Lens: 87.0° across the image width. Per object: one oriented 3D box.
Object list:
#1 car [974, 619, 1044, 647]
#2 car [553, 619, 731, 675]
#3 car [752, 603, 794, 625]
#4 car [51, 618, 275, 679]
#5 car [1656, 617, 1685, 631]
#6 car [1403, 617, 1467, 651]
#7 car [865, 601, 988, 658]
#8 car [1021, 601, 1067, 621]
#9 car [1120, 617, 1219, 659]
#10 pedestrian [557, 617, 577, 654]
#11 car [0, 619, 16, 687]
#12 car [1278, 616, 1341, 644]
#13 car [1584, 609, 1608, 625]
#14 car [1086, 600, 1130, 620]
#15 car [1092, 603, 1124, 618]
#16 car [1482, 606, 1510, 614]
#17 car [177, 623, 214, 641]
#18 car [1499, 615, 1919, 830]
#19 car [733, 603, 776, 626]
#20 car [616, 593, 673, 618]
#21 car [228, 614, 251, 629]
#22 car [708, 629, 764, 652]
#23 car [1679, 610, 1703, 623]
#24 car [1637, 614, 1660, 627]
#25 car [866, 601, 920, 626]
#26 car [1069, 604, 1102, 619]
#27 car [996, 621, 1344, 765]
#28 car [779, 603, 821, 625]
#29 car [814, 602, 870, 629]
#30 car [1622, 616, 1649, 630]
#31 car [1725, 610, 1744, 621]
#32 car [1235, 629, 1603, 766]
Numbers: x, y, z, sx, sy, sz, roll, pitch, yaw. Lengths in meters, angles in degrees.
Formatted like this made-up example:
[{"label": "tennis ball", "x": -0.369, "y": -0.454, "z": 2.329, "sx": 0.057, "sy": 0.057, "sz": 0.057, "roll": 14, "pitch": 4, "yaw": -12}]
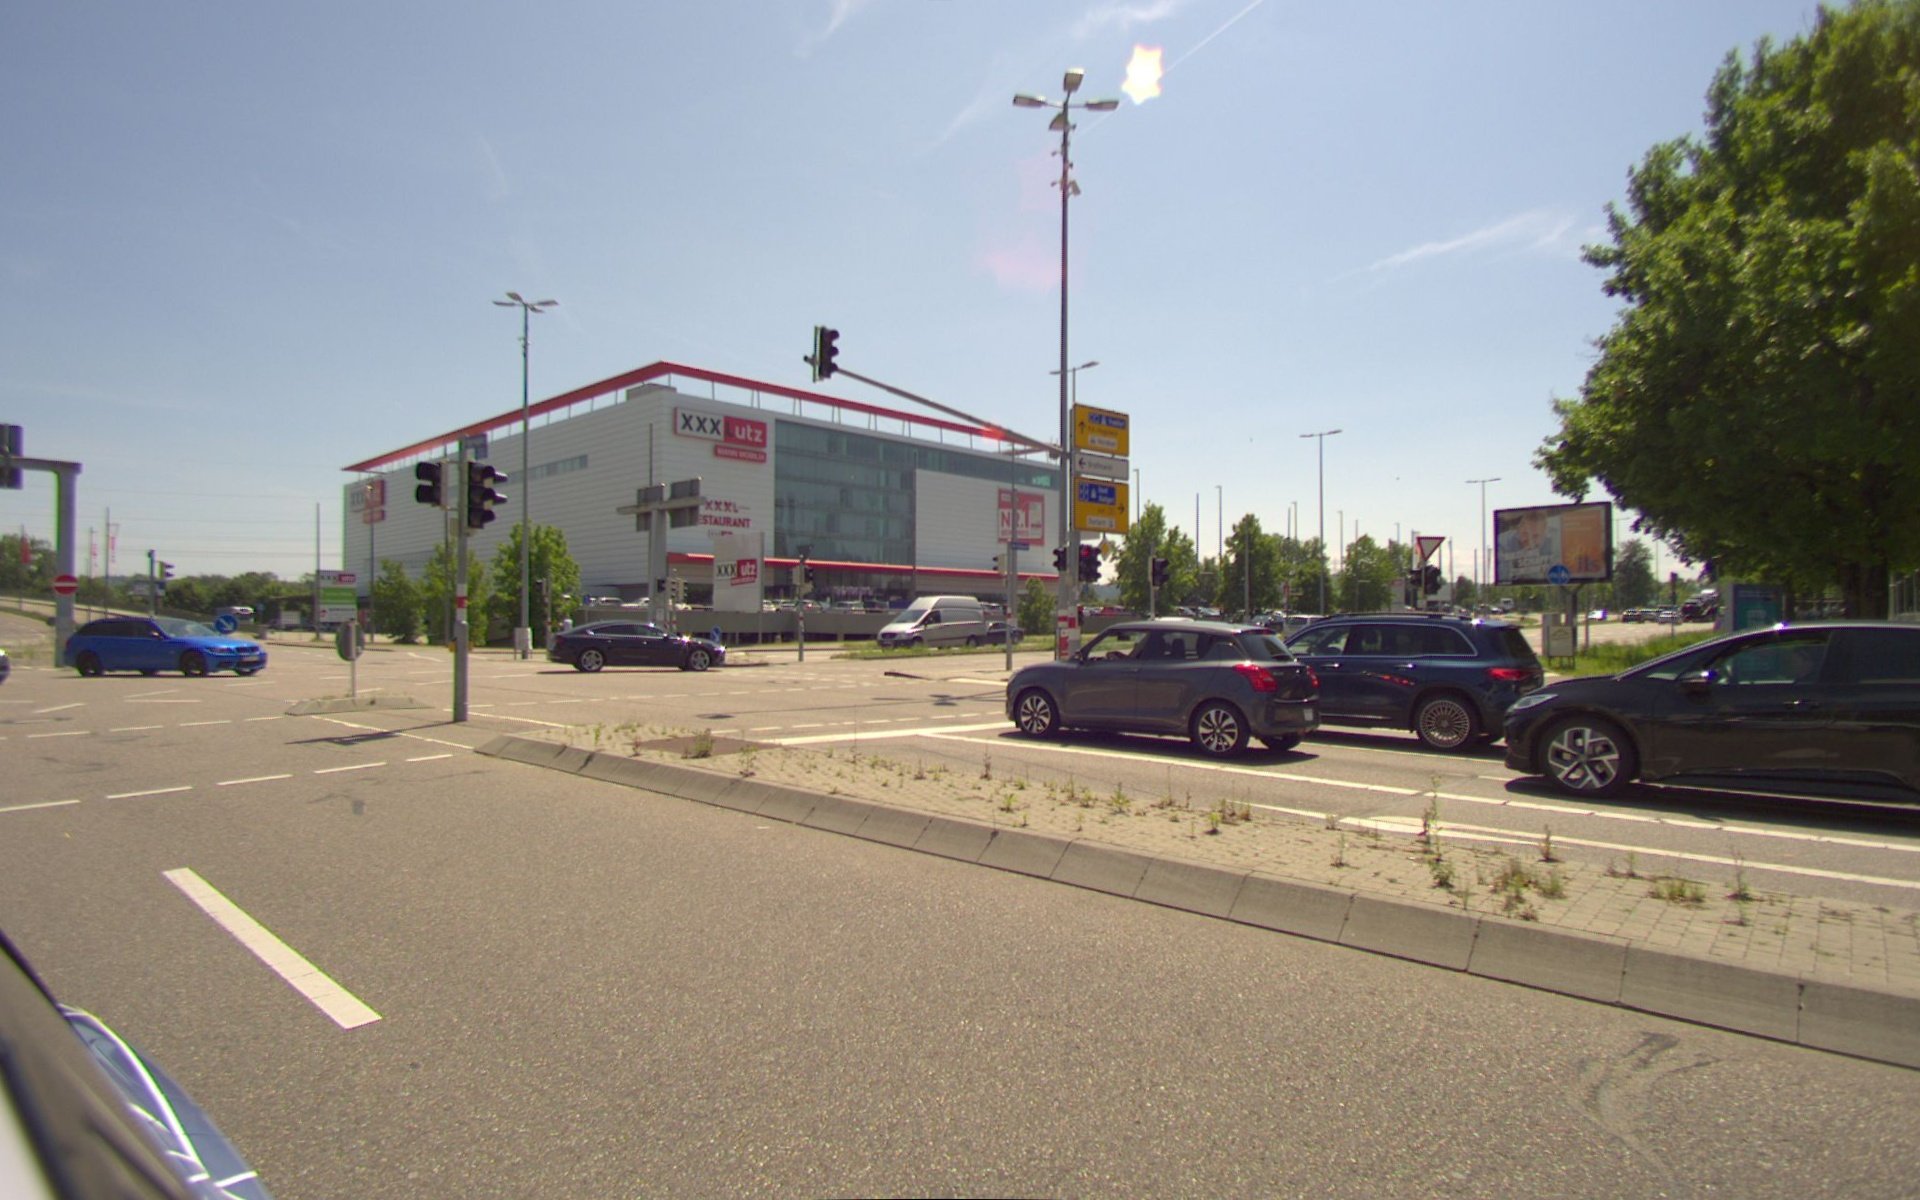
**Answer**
[{"label": "car", "x": 2.807, "y": 1.863, "z": 57.205, "sx": 1.859, "sy": 1.519, "sz": 3.944, "roll": -1, "pitch": -2, "yaw": 42}, {"label": "car", "x": -8.614, "y": 1.248, "z": 27.468, "sx": 4.389, "sy": 1.415, "sz": 1.682, "roll": 1, "pitch": -2, "yaw": -26}, {"label": "car", "x": -17.517, "y": 1.342, "z": 94.808, "sx": 4.134, "sy": 2.029, "sz": 1.759, "roll": -1, "pitch": -2, "yaw": 42}, {"label": "car", "x": -19.335, "y": 1.161, "z": 24.636, "sx": 4.379, "sy": 1.413, "sz": 1.766, "roll": 0, "pitch": -1, "yaw": 8}, {"label": "car", "x": 77.365, "y": 2.595, "z": 110.203, "sx": 2.000, "sy": 1.564, "sz": 3.943, "roll": -1, "pitch": -2, "yaw": 43}, {"label": "car", "x": 26.142, "y": 1.902, "z": 55.666, "sx": 1.803, "sy": 1.452, "sz": 4.491, "roll": -8, "pitch": -10, "yaw": 43}, {"label": "car", "x": -1.308, "y": 1.192, "z": 41.444, "sx": 4.974, "sy": 2.200, "sz": 2.001, "roll": 1, "pitch": -2, "yaw": -44}, {"label": "car", "x": 8.356, "y": 1.119, "z": 101.223, "sx": 4.328, "sy": 2.029, "sz": 1.972, "roll": -1, "pitch": -2, "yaw": 42}, {"label": "car", "x": 8.064, "y": 1.447, "z": 38.843, "sx": 4.011, "sy": 1.447, "sz": 1.795, "roll": 0, "pitch": -1, "yaw": -45}, {"label": "pedestrian", "x": -19.344, "y": 1.722, "z": 49.809, "sx": 0.827, "sy": 1.797, "sz": 0.596, "roll": -2, "pitch": -2, "yaw": 44}, {"label": "car", "x": -21.811, "y": 1.092, "z": 20.956, "sx": 4.061, "sy": 1.393, "sz": 1.758, "roll": -1, "pitch": -1, "yaw": 22}, {"label": "car", "x": 18.405, "y": 1.605, "z": 53.225, "sx": 1.697, "sy": 1.433, "sz": 3.952, "roll": -3, "pitch": -3, "yaw": 42}, {"label": "car", "x": 78.410, "y": 2.113, "z": 124.784, "sx": 1.816, "sy": 2.029, "sz": 3.944, "roll": -2, "pitch": -2, "yaw": 42}, {"label": "car", "x": 15.836, "y": 1.071, "z": 108.246, "sx": 4.328, "sy": 2.029, "sz": 1.972, "roll": -1, "pitch": -2, "yaw": 42}, {"label": "car", "x": 20.730, "y": 1.525, "z": 141.937, "sx": 3.998, "sy": 2.029, "sz": 1.973, "roll": -1, "pitch": -2, "yaw": 41}, {"label": "car", "x": 91.043, "y": 1.698, "z": 171.857, "sx": 3.997, "sy": 1.433, "sz": 1.679, "roll": -1, "pitch": -1, "yaw": 33}, {"label": "car", "x": -69.999, "y": 2.919, "z": 92.615, "sx": 3.999, "sy": 1.608, "sz": 1.972, "roll": 0, "pitch": -1, "yaw": 42}, {"label": "car", "x": 6.947, "y": 0.919, "z": 8.241, "sx": 4.242, "sy": 1.517, "sz": 1.708, "roll": 0, "pitch": -3, "yaw": 42}, {"label": "car", "x": -18.911, "y": 1.327, "z": 93.043, "sx": 4.232, "sy": 2.029, "sz": 1.759, "roll": -1, "pitch": -2, "yaw": 42}, {"label": "car", "x": -26.464, "y": 0.487, "z": 85.022, "sx": 1.678, "sy": 2.029, "sz": 4.412, "roll": -1, "pitch": -2, "yaw": 41}, {"label": "car", "x": -115.983, "y": 3.451, "z": 162.792, "sx": 4.815, "sy": 2.300, "sz": 2.162, "roll": -2, "pitch": -2, "yaw": 44}, {"label": "car", "x": -17.470, "y": 3.131, "z": 79.123, "sx": 1.997, "sy": 1.719, "sz": 3.949, "roll": -1, "pitch": -2, "yaw": 38}, {"label": "car", "x": 87.765, "y": 1.999, "z": 121.462, "sx": 1.999, "sy": 1.564, "sz": 3.945, "roll": -1, "pitch": -2, "yaw": 42}, {"label": "car", "x": 81.089, "y": 2.402, "z": 119.122, "sx": 1.646, "sy": 1.564, "sz": 3.371, "roll": -1, "pitch": -2, "yaw": 44}, {"label": "car", "x": -5.585, "y": 1.165, "z": 84.524, "sx": 4.323, "sy": 2.029, "sz": 1.975, "roll": -1, "pitch": -2, "yaw": 38}, {"label": "car", "x": 17.208, "y": 1.541, "z": 138.836, "sx": 3.998, "sy": 2.029, "sz": 1.973, "roll": -1, "pitch": -2, "yaw": 41}, {"label": "car", "x": 2.380, "y": 0.995, "z": 11.982, "sx": 3.715, "sy": 1.399, "sz": 1.626, "roll": 0, "pitch": -3, "yaw": 42}, {"label": "car", "x": -15.242, "y": 1.323, "z": 96.411, "sx": 4.134, "sy": 2.029, "sz": 1.759, "roll": -1, "pitch": -2, "yaw": 42}, {"label": "car", "x": -9.421, "y": 1.237, "z": 80.587, "sx": 4.323, "sy": 2.029, "sz": 1.974, "roll": -1, "pitch": -2, "yaw": 38}, {"label": "car", "x": 76.631, "y": 2.592, "z": 114.841, "sx": 1.926, "sy": 1.564, "sz": 3.555, "roll": -1, "pitch": -2, "yaw": 45}, {"label": "car", "x": 103.700, "y": 2.087, "z": 135.460, "sx": 1.554, "sy": 1.564, "sz": 3.371, "roll": -1, "pitch": -2, "yaw": 44}, {"label": "car", "x": 5.799, "y": 1.129, "z": 13.063, "sx": 4.036, "sy": 1.435, "sz": 1.643, "roll": 0, "pitch": -2, "yaw": 41}]
